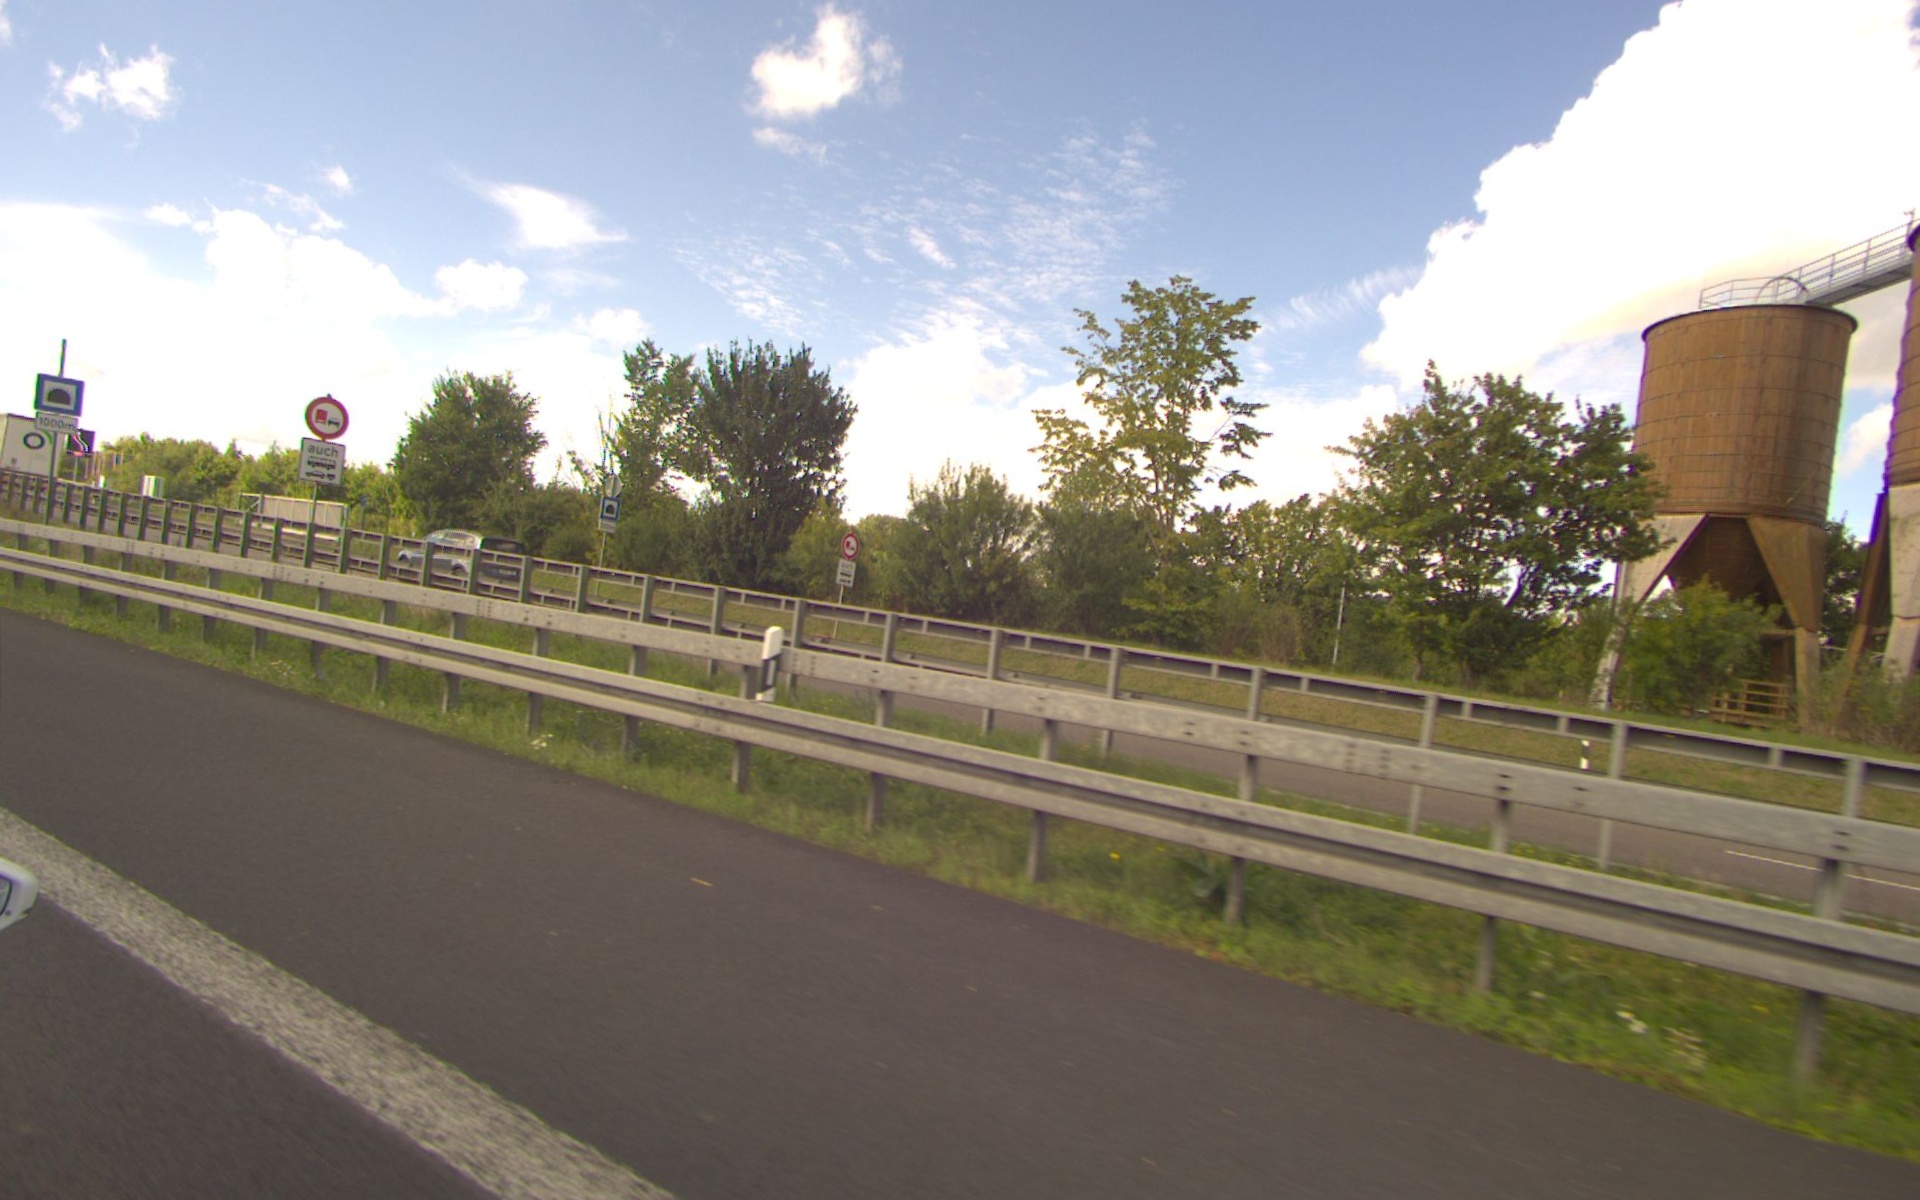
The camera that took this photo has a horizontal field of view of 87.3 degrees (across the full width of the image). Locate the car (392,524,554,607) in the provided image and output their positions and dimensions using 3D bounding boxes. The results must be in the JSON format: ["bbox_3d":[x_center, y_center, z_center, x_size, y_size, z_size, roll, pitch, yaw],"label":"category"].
[{"bbox_3d":[-13.051,-0.932,26.919,3.933,1.739,1.995,7,1,31],"label":"car"}]

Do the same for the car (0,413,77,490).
[{"bbox_3d":[-54.637,-8.605,58.263,7.432,3.723,3.575,7,1,36],"label":"car"}]
